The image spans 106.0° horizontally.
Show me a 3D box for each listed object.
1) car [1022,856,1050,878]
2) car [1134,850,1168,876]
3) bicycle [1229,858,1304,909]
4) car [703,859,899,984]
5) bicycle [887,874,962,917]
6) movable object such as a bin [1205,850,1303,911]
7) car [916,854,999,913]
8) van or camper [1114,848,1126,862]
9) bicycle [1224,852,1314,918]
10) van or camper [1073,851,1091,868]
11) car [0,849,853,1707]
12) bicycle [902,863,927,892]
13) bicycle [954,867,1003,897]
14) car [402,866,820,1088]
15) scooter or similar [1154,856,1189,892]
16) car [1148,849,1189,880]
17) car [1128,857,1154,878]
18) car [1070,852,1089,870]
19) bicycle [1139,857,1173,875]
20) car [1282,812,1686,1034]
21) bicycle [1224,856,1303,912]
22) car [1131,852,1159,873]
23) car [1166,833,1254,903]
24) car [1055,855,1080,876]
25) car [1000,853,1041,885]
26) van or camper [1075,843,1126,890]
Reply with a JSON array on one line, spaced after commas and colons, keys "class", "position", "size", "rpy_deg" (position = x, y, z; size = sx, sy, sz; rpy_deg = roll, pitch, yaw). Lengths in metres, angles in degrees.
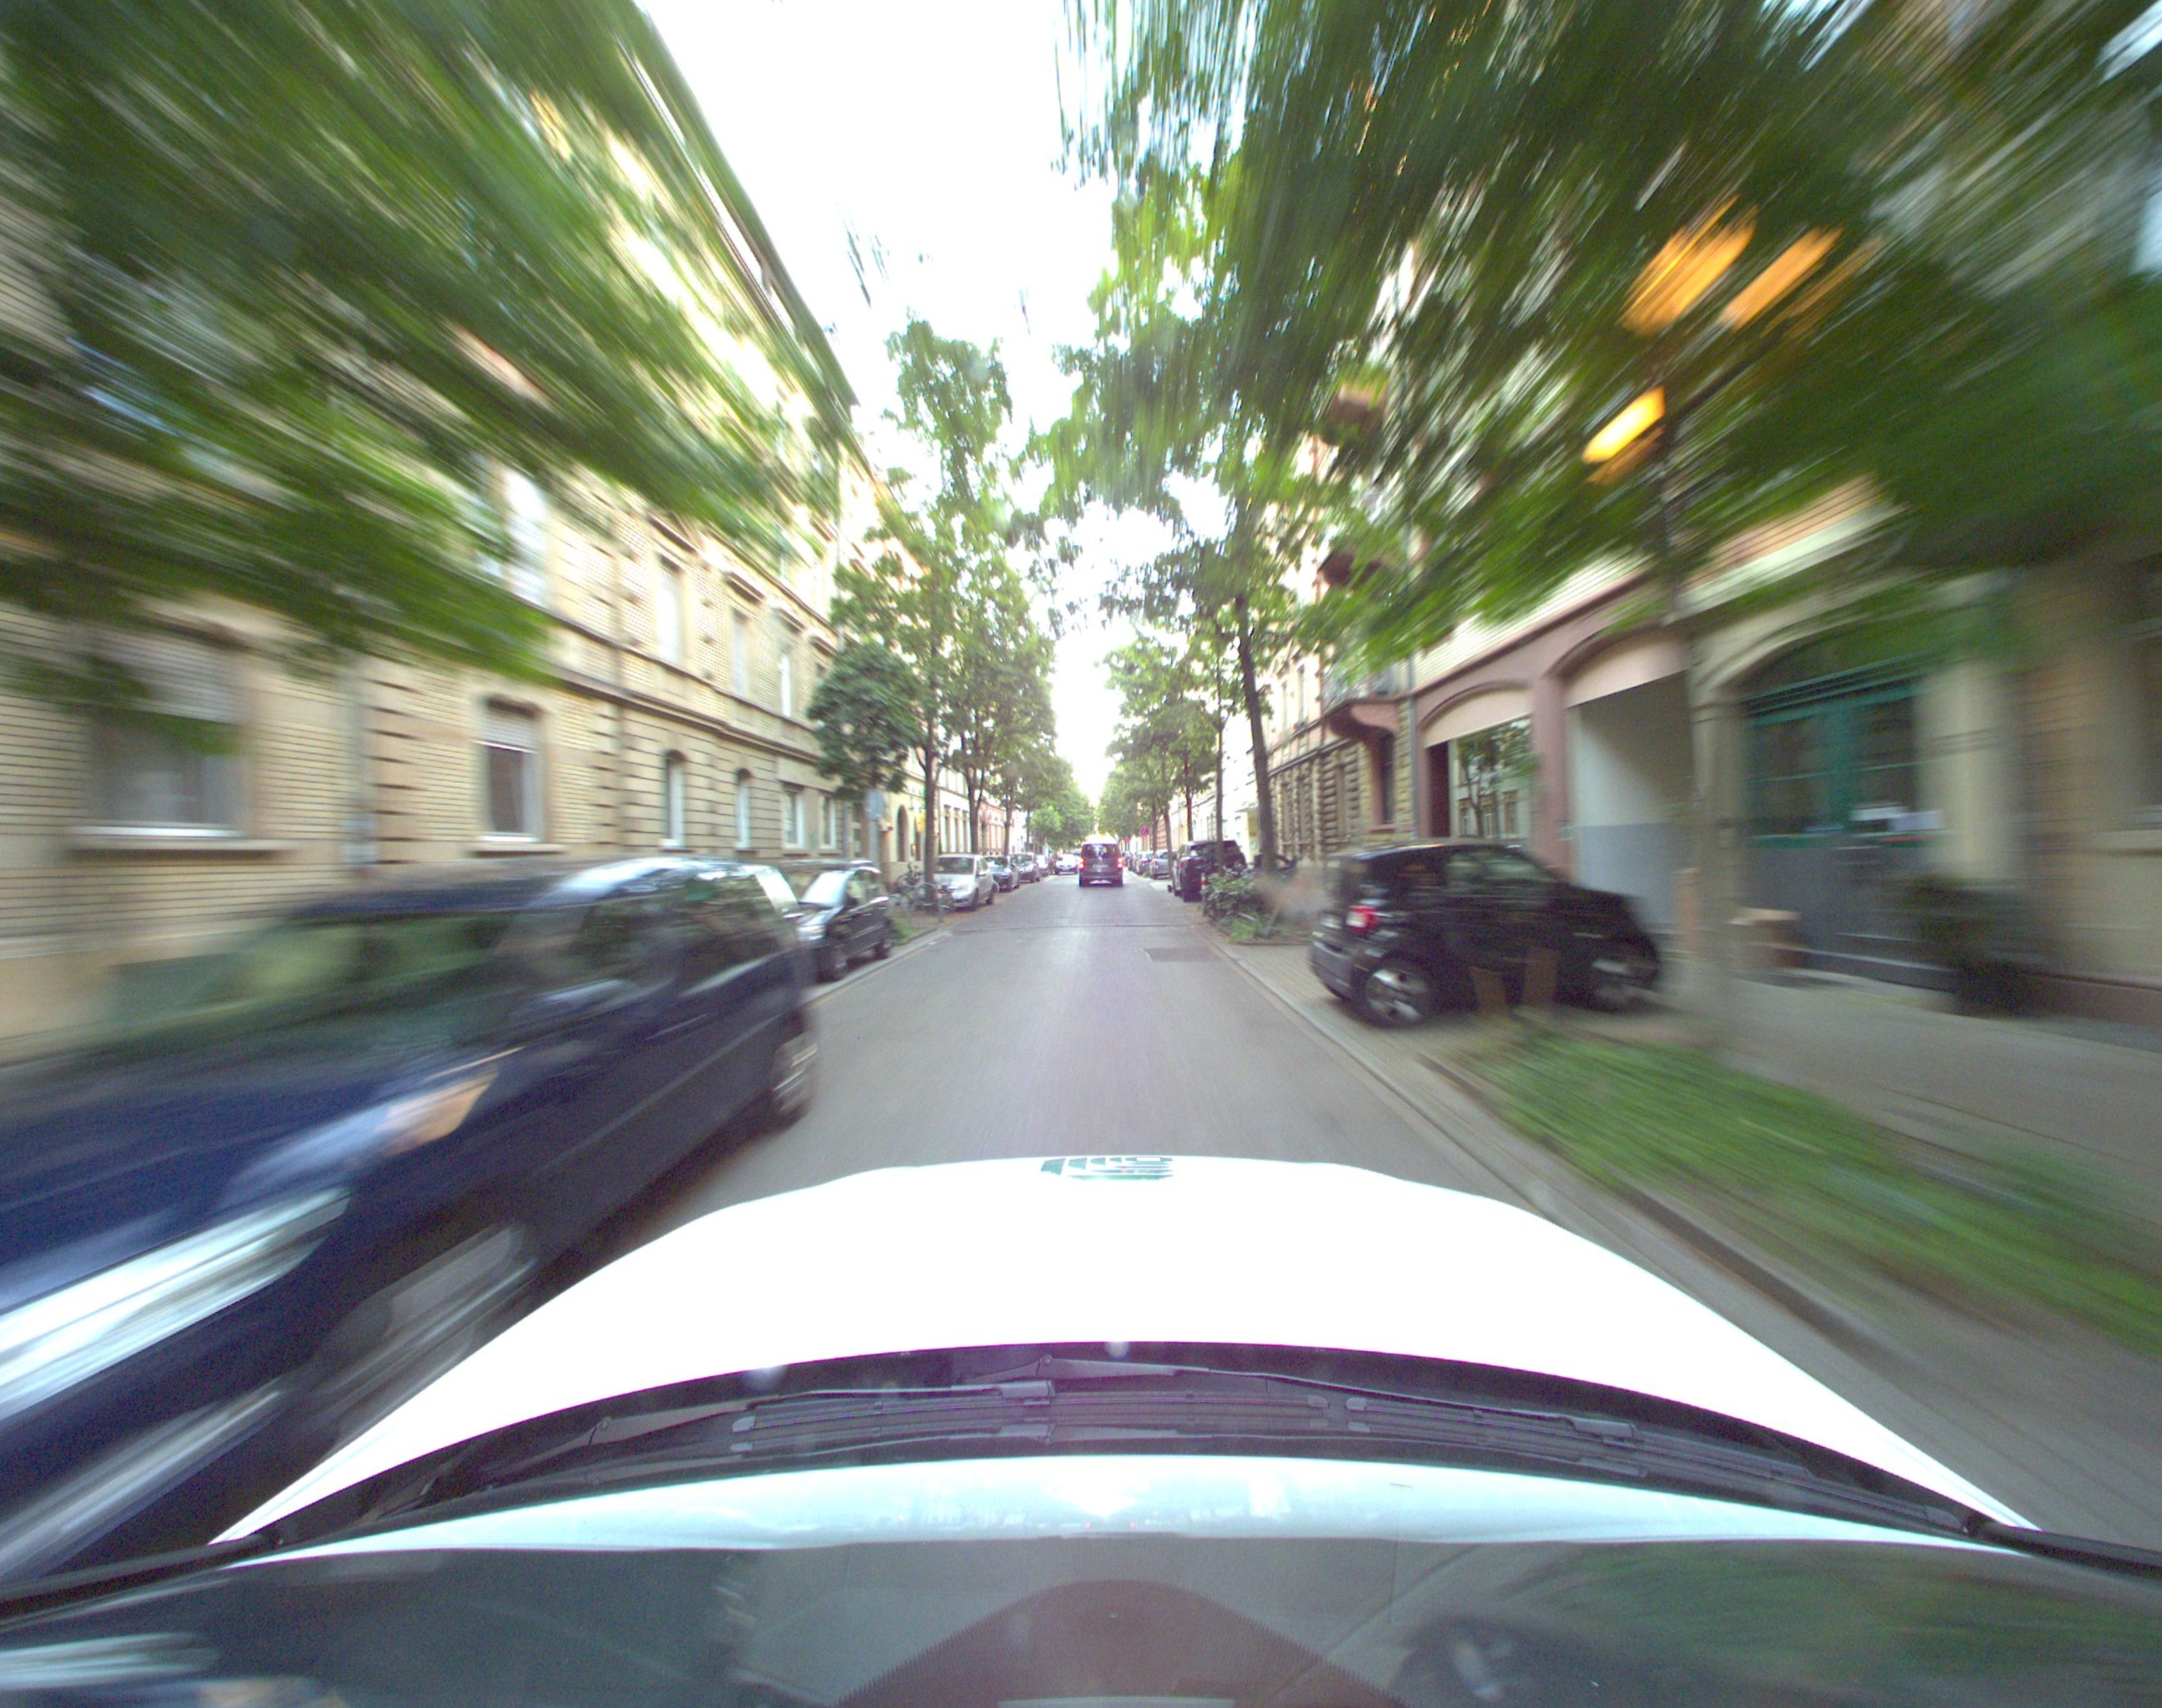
[{"class": "car", "position": [-2.987, 0.835, 54.149], "size": [1.581, 1.437, 3.567], "rpy_deg": [0, 0, 1]}, {"class": "car", "position": [4.455, 0.545, 52.036], "size": [1.711, 1.476, 4.367], "rpy_deg": [-3, 0, 0]}, {"class": "bicycle", "position": [4.407, 0.685, 19.409], "size": [1.650, 1.143, 0.583], "rpy_deg": [-2, 0, 4]}, {"class": "car", "position": [-3.816, 0.837, 11.733], "size": [1.513, 1.501, 3.562], "rpy_deg": [0, 0, 1]}, {"class": "bicycle", "position": [-4.048, 1.054, 21.087], "size": [1.869, 1.060, 0.593], "rpy_deg": [0, -1, -18]}, {"class": "movable object such as a bin", "position": [4.285, 0.645, 20.282], "size": [2.206, 1.305, 0.771], "rpy_deg": [-5, 0, 4]}, {"class": "car", "position": [-3.617, 0.806, 24.489], "size": [1.669, 1.607, 3.865], "rpy_deg": [-1, 0, 3]}, {"class": "van or camper", "position": [7.342, 0.158, 154.259], "size": [1.987, 2.599, 5.424], "rpy_deg": [-1, 0, 0]}, {"class": "bicycle", "position": [4.127, 0.664, 17.971], "size": [1.755, 1.294, 0.802], "rpy_deg": [-4, 0, 1]}, {"class": "van or camper", "position": [0.106, 0.575, 91.455], "size": [1.871, 1.843, 4.752], "rpy_deg": [-2, 0, 0]}, {"class": "car", "position": [-2.537, 0.797, 3.599], "size": [1.717, 1.573, 4.221], "rpy_deg": [-2, 0, 1]}, {"class": "bicycle", "position": [-6.604, 0.906, 32.412], "size": [0.524, 1.097, 1.796], "rpy_deg": [-2, 0, 2]}, {"class": "bicycle", "position": [-3.669, 1.005, 29.149], "size": [1.677, 1.003, 0.430], "rpy_deg": [1, 0, 3]}, {"class": "car", "position": [-3.894, 0.891, 7.572], "size": [1.685, 1.501, 3.712], "rpy_deg": [0, 0, 1]}, {"class": "scooter or similar", "position": [3.312, 0.725, 29.656], "size": [0.667, 1.190, 1.123], "rpy_deg": [-5, -1, 41]}, {"class": "car", "position": [4.542, 0.504, 42.827], "size": [1.752, 1.463, 4.308], "rpy_deg": [-2, 0, 1]}, {"class": "car", "position": [4.558, 1.003, 62.624], "size": [1.760, 1.415, 4.476], "rpy_deg": [-4, 0, 2]}, {"class": "car", "position": [-0.195, 0.631, 76.191], "size": [1.659, 1.563, 3.997], "rpy_deg": [-2, 0, -2]}, {"class": "bicycle", "position": [4.516, 0.710, 49.133], "size": [1.922, 0.982, 0.634], "rpy_deg": [-2, 0, -20]}, {"class": "car", "position": [3.518, 0.573, 7.576], "size": [2.787, 1.599, 1.801], "rpy_deg": [-5, 0, 2]}, {"class": "bicycle", "position": [4.187, 0.686, 18.787], "size": [1.688, 1.198, 0.583], "rpy_deg": [-2, 0, 4]}, {"class": "car", "position": [4.496, 0.585, 57.647], "size": [1.630, 1.424, 3.564], "rpy_deg": [-3, 0, 0]}, {"class": "car", "position": [3.894, 0.382, 25.417], "size": [2.006, 1.833, 4.812], "rpy_deg": [-4, 0, 1]}, {"class": "car", "position": [-0.949, 0.821, 58.734], "size": [1.574, 1.420, 3.754], "rpy_deg": [-2, 0, 1]}, {"class": "car", "position": [-3.112, 0.738, 42.611], "size": [1.700, 1.580, 4.080], "rpy_deg": [0, 0, 2]}, {"class": "van or camper", "position": [0.908, 0.506, 35.792], "size": [2.026, 1.897, 4.275], "rpy_deg": [-1, 0, 3]}]
